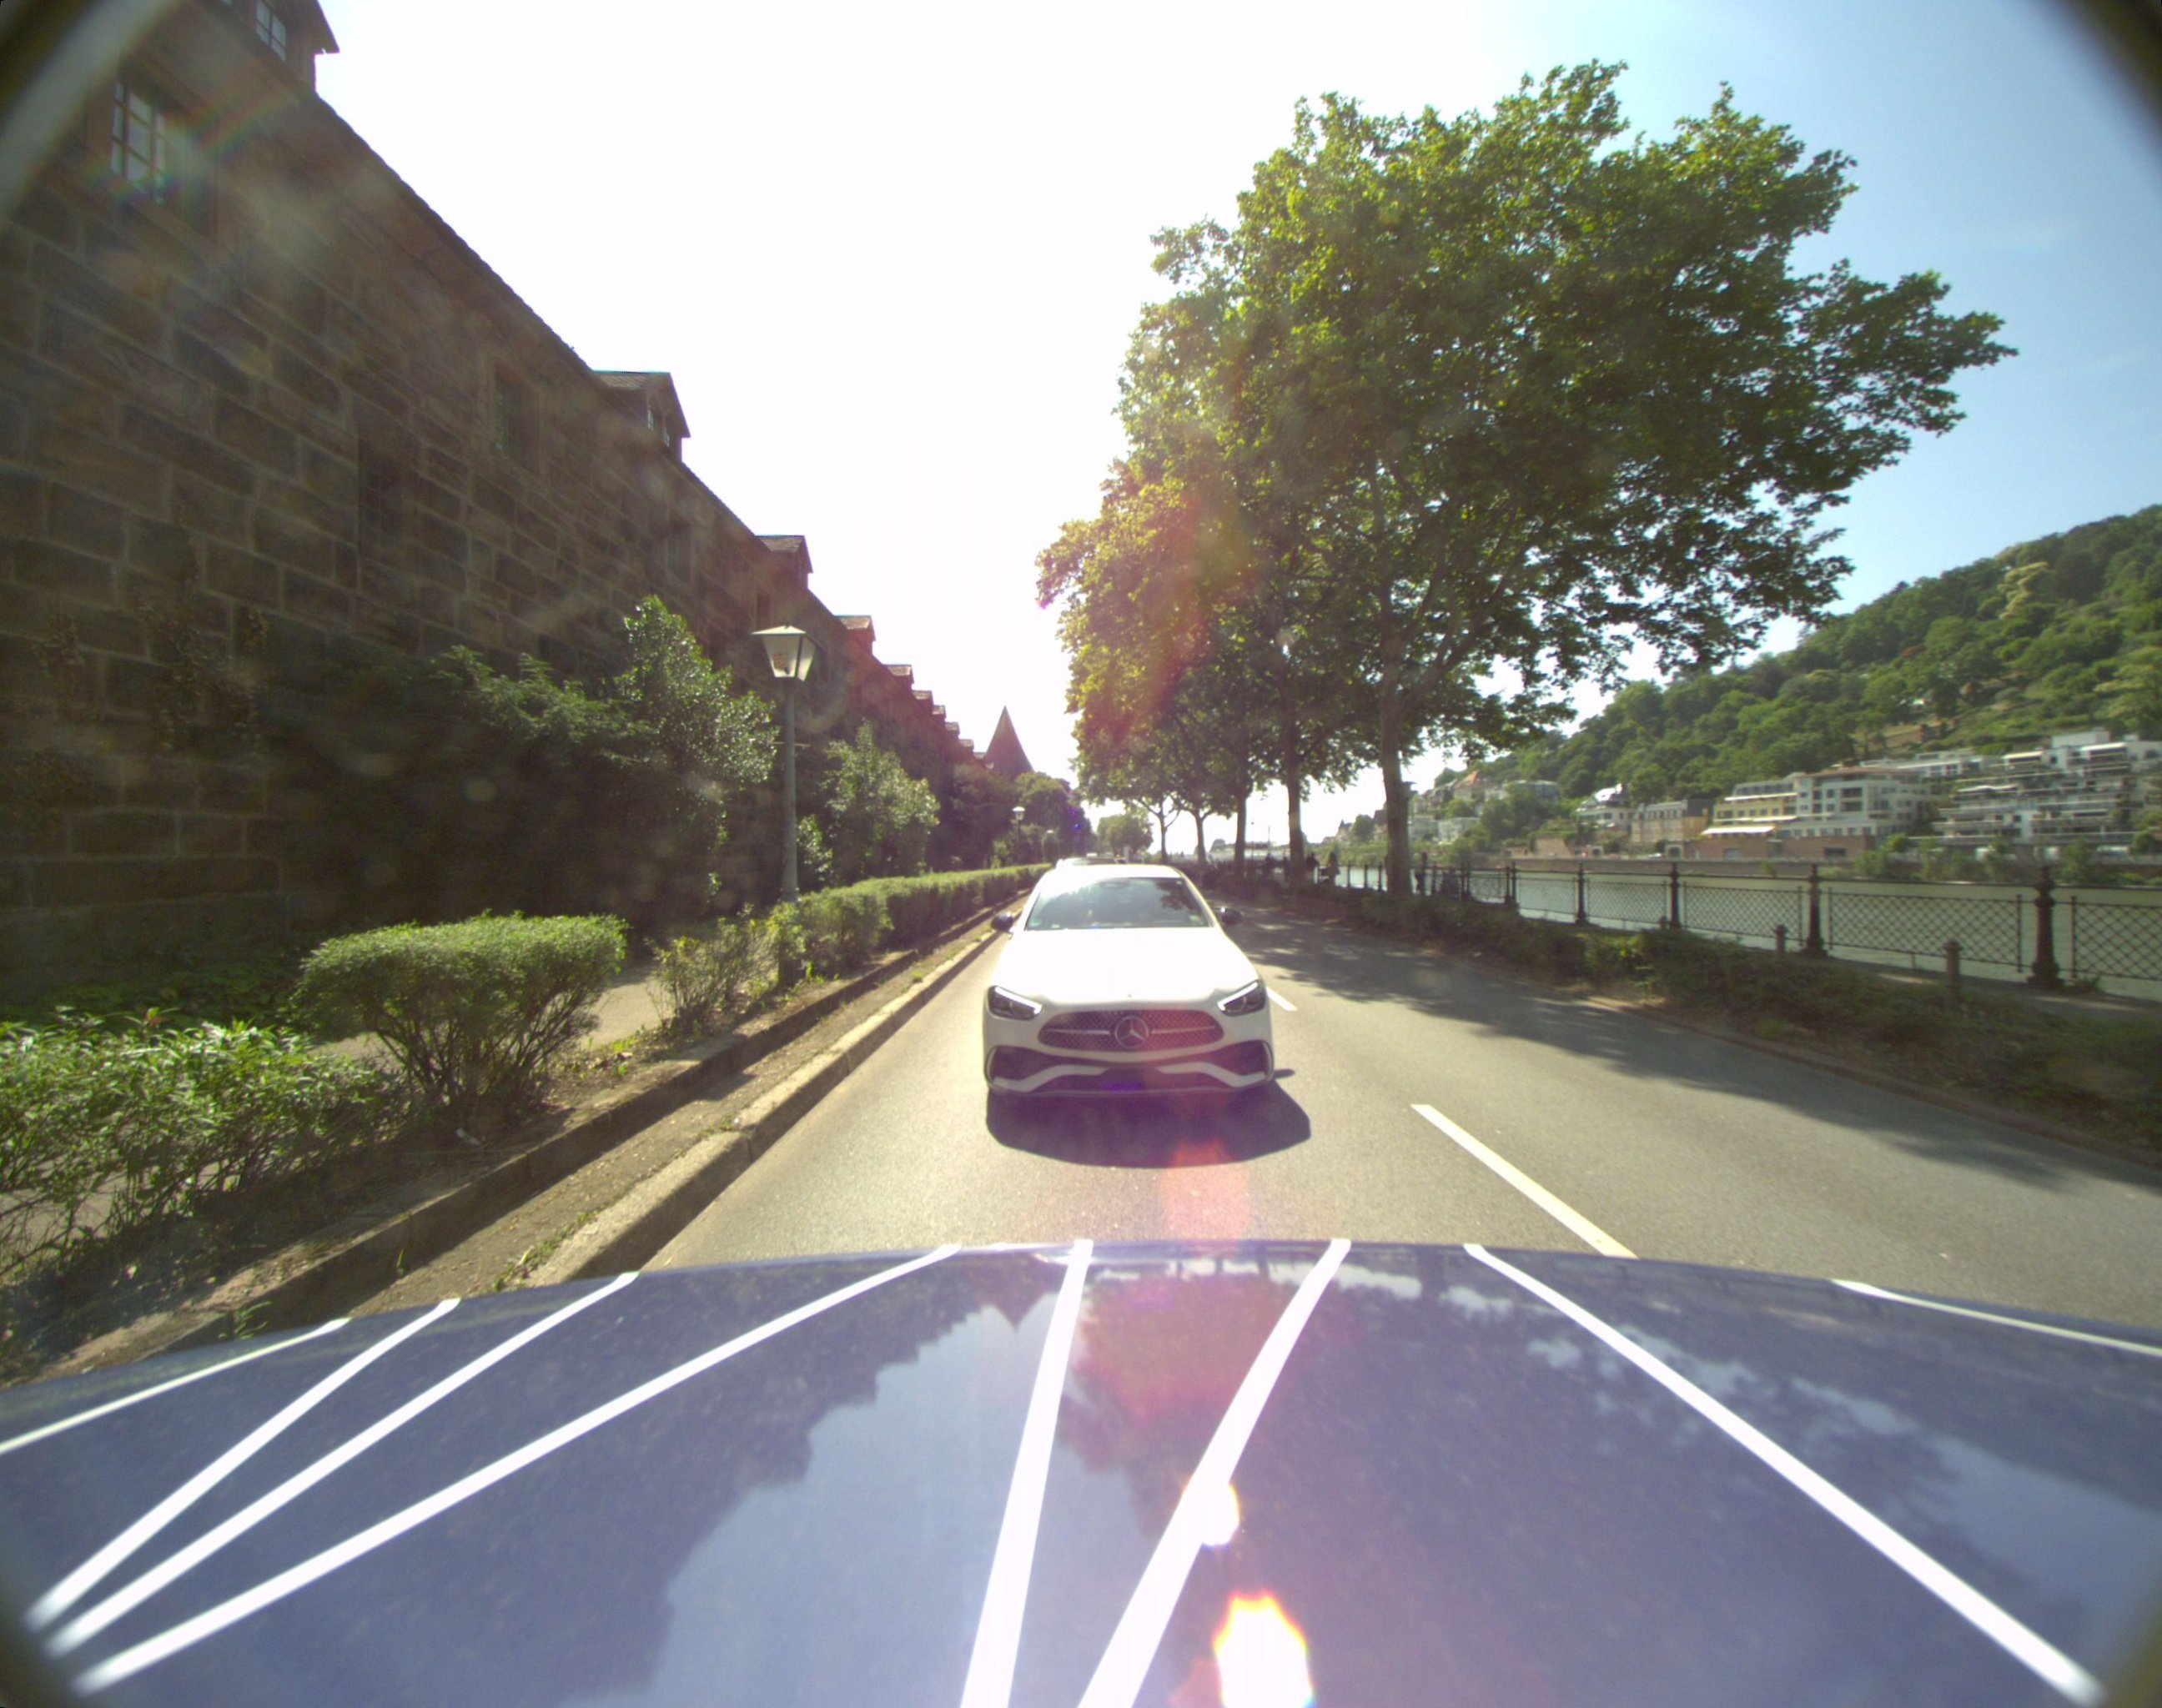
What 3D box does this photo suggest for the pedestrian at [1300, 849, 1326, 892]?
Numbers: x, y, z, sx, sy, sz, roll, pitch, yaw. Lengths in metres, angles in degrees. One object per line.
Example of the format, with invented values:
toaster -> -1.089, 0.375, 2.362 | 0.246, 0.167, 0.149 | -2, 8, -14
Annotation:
pedestrian -> 10.443, 0.731, 34.231 | 0.806, 1.839, 0.929 | -2, 1, 1

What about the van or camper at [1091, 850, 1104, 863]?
van or camper -> 3.016, 0.473, 142.008 | 2.313, 2.357, 5.035 | 1, 0, 0

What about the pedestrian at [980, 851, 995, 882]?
pedestrian -> -4.874, 0.636, 39.448 | 0.643, 1.555, 0.564 | -2, 1, 1

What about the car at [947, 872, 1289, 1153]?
car -> 0.232, 0.927, 6.323 | 1.833, 1.395, 4.270 | -2, 0, 1

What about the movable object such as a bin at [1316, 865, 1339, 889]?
movable object such as a bin -> 11.212, 1.042, 34.567 | 0.704, 1.043, 0.783 | -2, 1, -4

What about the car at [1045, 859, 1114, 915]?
car -> -0.012, 0.906, 22.663 | 1.833, 1.395, 4.424 | -2, 0, 1

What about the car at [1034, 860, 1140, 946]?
car -> 0.134, 0.887, 15.662 | 1.833, 1.428, 4.270 | -2, 0, 1

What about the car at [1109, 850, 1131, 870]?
car -> 4.252, 0.601, 83.136 | 2.165, 2.002, 4.000 | -2, 1, 1

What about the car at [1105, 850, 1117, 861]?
car -> 5.825, 0.308, 149.547 | 2.165, 2.002, 4.000 | -2, 1, 1

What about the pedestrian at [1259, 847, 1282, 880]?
pedestrian -> 11.975, 0.616, 48.009 | 1.047, 2.002, 1.036 | -1, 1, 31

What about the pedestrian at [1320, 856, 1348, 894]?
pedestrian -> 11.198, 0.914, 33.655 | 0.897, 1.625, 1.059 | -2, 1, 4

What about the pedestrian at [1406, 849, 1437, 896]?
pedestrian -> 12.793, 0.680, 28.578 | 0.777, 1.748, 0.830 | 1, 0, 0

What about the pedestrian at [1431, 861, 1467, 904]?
pedestrian -> 12.032, 0.913, 24.845 | 0.768, 1.379, 0.770 | 1, 0, 0
